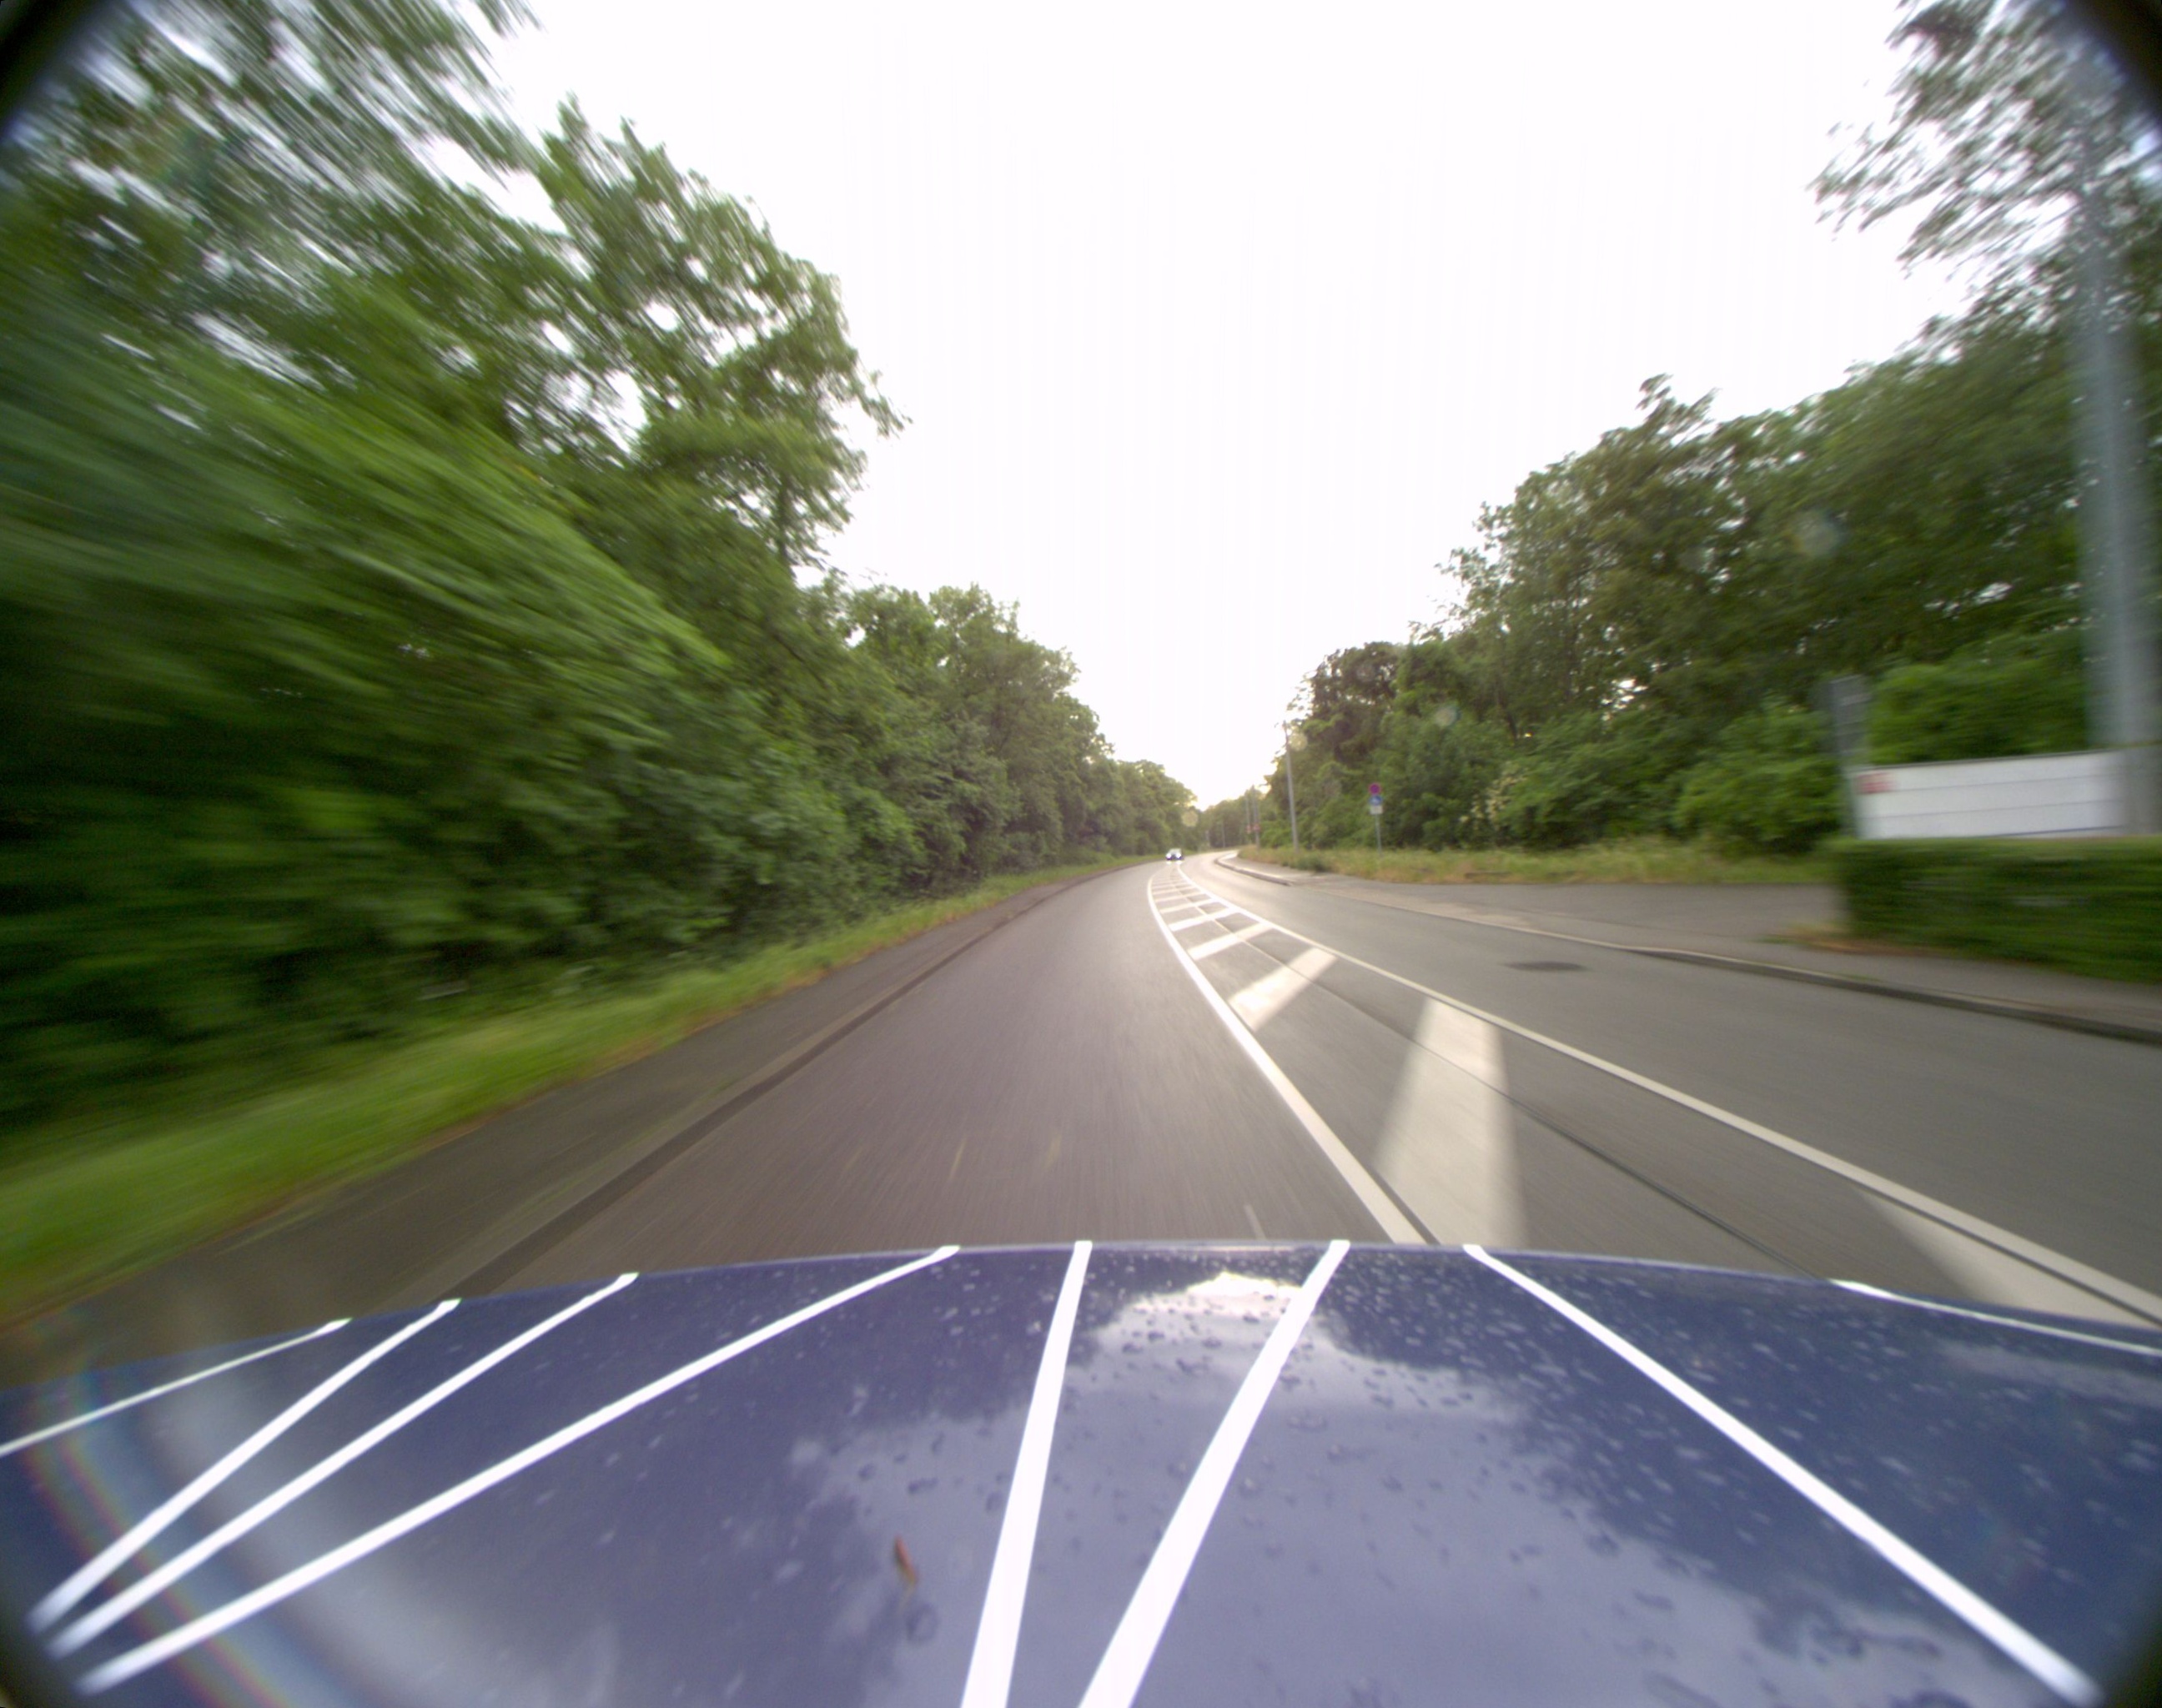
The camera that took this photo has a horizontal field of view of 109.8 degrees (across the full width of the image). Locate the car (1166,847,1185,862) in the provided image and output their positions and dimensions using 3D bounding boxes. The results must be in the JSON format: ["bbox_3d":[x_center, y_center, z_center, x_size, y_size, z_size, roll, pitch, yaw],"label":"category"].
[{"bbox_3d":[11.755,0.032,94.098,1.997,1.674,4.003,-3,1,11],"label":"car"}]
